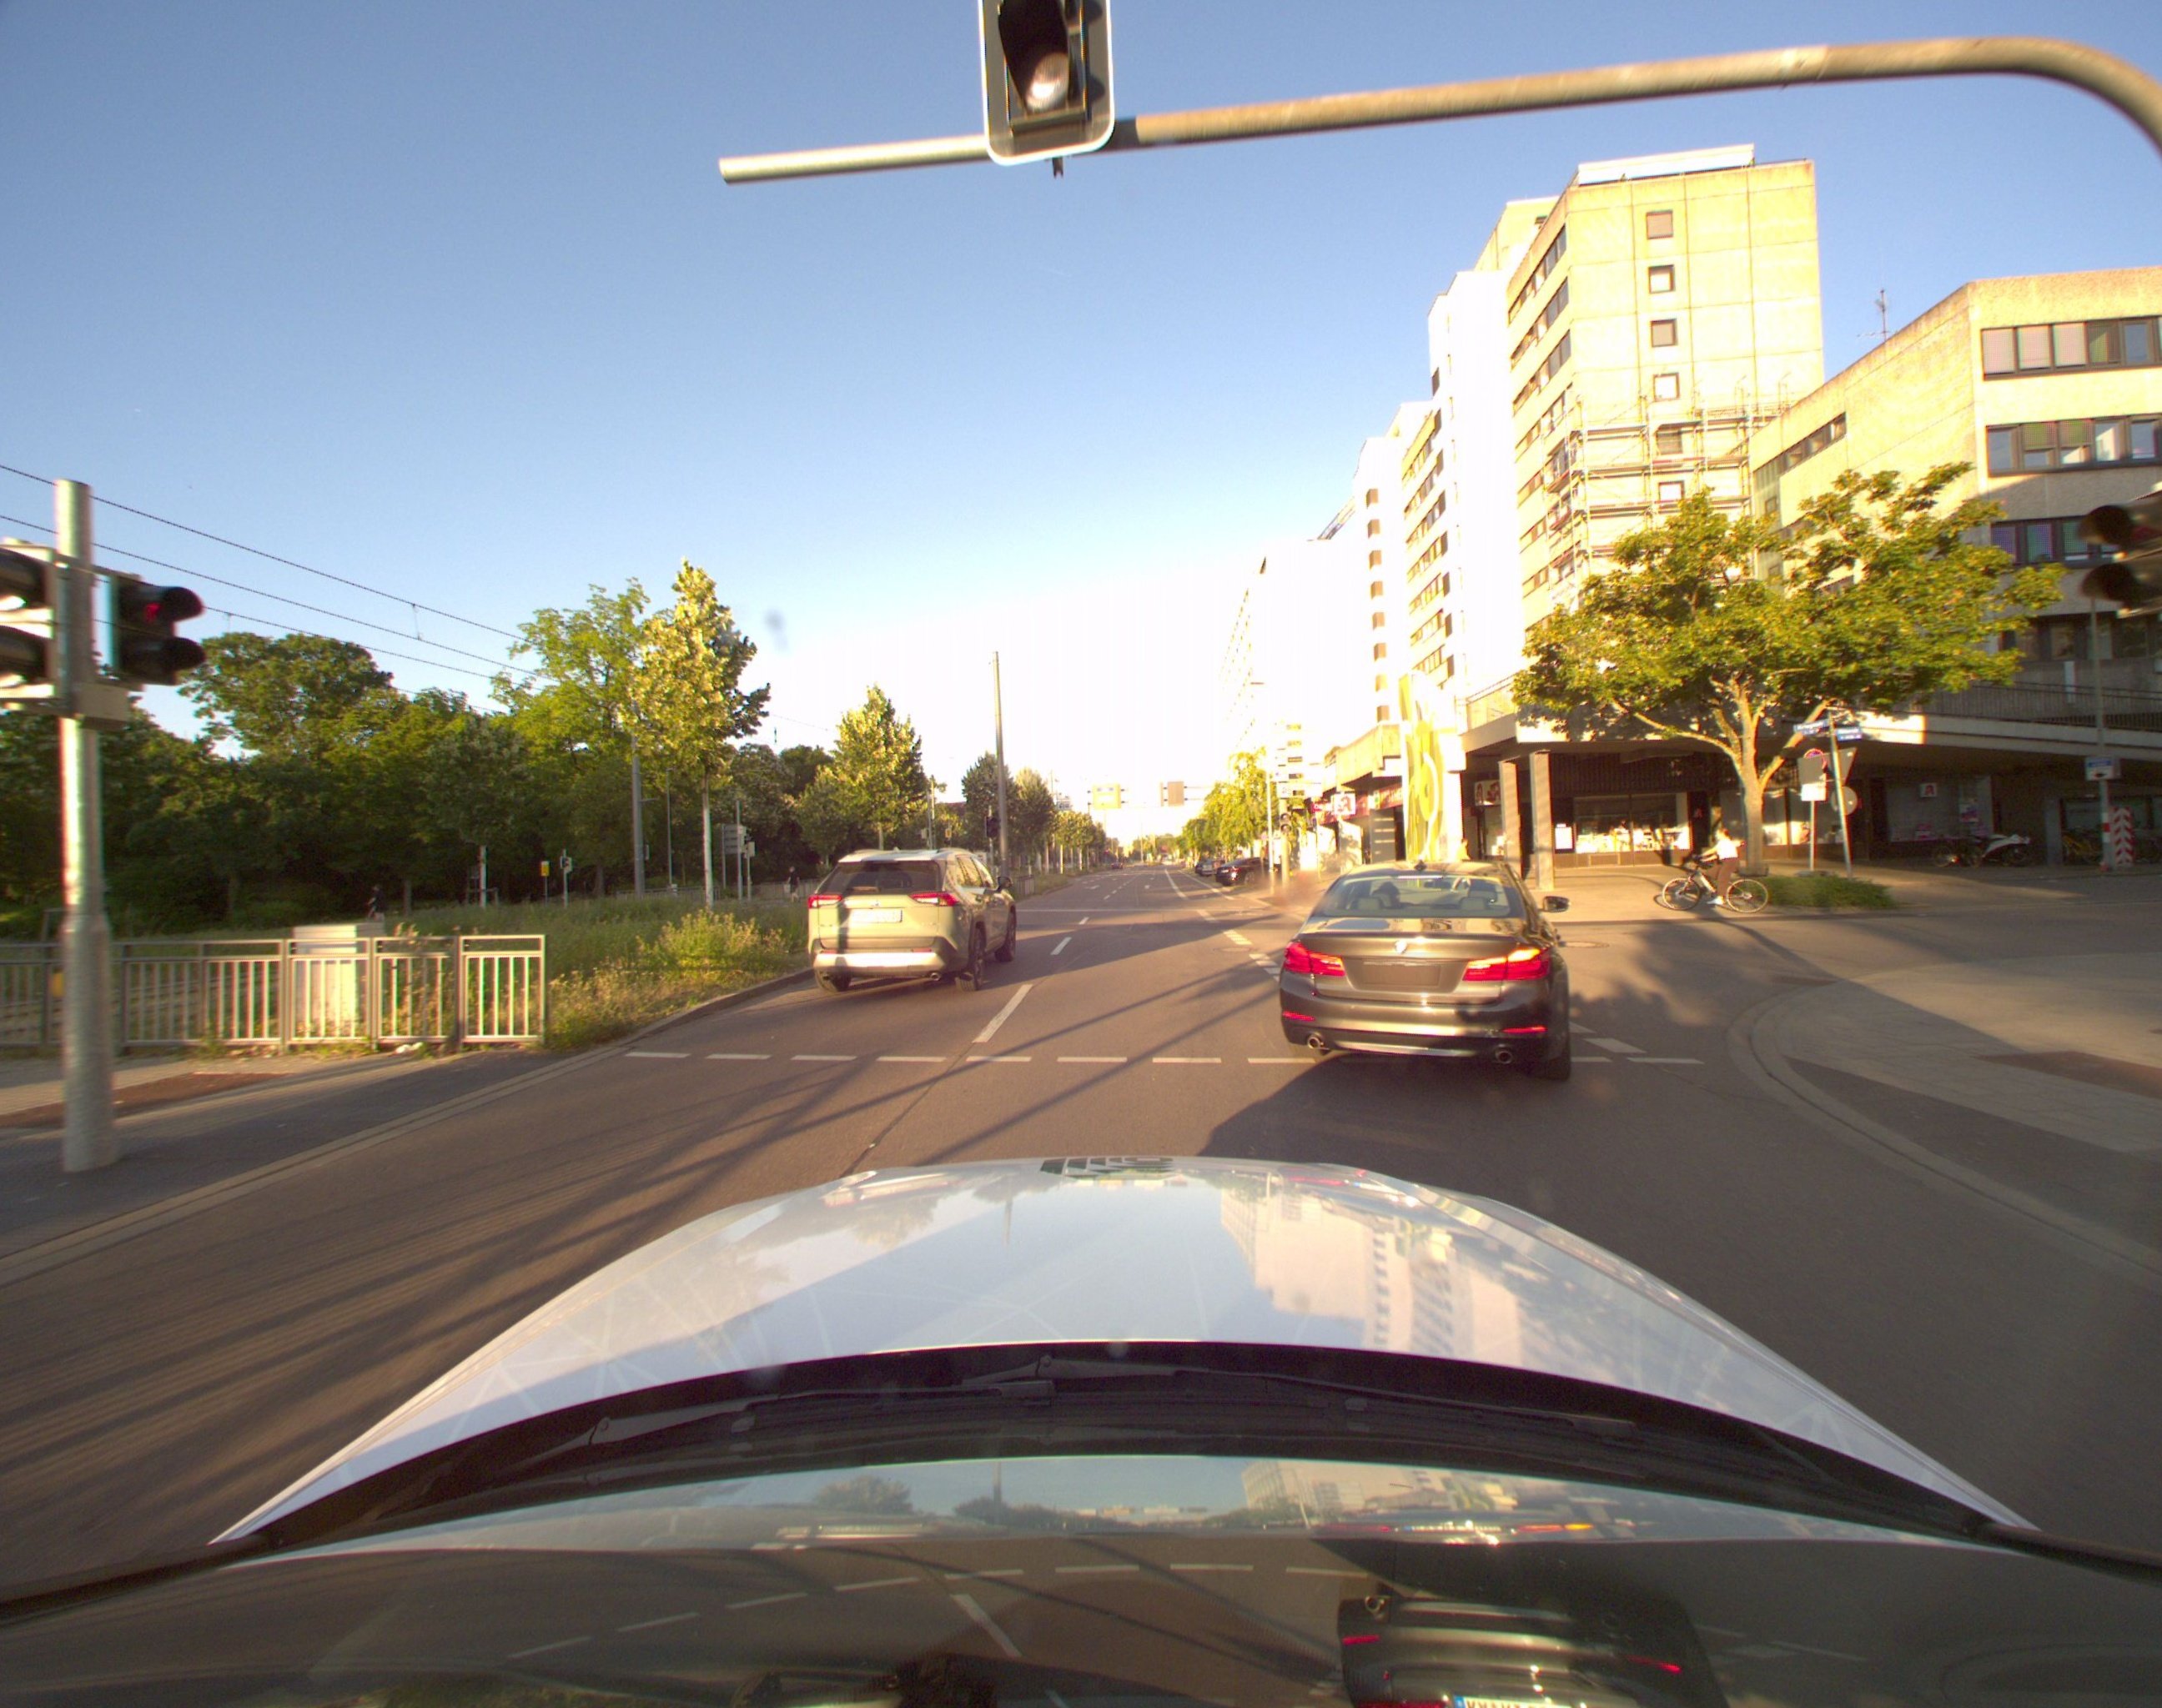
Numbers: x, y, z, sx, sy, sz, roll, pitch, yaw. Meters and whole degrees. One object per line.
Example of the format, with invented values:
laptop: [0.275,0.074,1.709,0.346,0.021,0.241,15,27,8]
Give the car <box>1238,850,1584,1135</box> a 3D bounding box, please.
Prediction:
car: [2.954,0.755,6.881,1.914,1.481,4.550,-1,1,28]

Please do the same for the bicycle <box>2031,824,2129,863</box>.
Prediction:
bicycle: [29.102,-0.277,23.770,0.578,1.075,1.980,1,-1,6]

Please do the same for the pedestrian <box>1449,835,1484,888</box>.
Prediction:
pedestrian: [12.907,0.242,27.272,0.830,1.712,0.649,-2,-1,7]

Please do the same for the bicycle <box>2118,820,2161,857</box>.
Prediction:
bicycle: [32.379,-0.479,24.117,0.583,1.075,1.964,1,-1,-20]

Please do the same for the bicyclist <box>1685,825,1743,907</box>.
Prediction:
bicyclist: [13.363,0.250,17.203,0.657,1.681,0.810,-2,-1,-44]

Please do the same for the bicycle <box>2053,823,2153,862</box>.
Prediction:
bicycle: [29.821,-0.313,23.819,0.578,1.075,1.980,1,-1,6]

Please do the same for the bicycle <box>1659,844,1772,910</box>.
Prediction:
bicycle: [13.371,0.489,17.192,0.657,1.310,1.765,-2,-1,-44]

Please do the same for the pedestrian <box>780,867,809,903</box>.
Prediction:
pedestrian: [-12.851,1.390,36.535,0.828,1.586,0.816,-3,-1,19]

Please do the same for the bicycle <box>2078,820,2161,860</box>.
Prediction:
bicycle: [30.364,-0.388,23.638,0.578,1.075,1.980,1,-1,6]

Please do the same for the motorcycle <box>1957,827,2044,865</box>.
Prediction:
motorcycle: [27.725,-0.233,24.601,0.642,1.075,1.880,1,-1,6]

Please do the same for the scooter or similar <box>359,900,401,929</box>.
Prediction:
scooter or similar: [-31.026,2.661,36.073,0.507,1.153,1.341,-3,-1,44]

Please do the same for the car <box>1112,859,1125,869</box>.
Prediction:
car: [6.200,1.591,134.377,1.970,1.433,4.847,-1,1,3]

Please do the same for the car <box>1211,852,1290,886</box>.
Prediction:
car: [9.122,0.784,43.748,4.290,1.658,1.839,-2,1,-39]

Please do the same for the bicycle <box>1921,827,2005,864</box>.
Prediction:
bicycle: [27.079,-0.233,25.053,0.578,1.075,1.980,1,-1,6]

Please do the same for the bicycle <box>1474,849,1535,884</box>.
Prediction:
bicycle: [14.643,0.436,28.222,0.689,1.149,2.012,1,-1,-15]

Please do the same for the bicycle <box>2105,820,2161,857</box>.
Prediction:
bicycle: [31.900,-0.465,24.069,0.582,1.075,1.966,1,-1,-16]

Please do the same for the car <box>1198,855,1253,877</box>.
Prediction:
car: [11.694,0.926,65.874,4.284,1.658,1.842,-1,1,-32]

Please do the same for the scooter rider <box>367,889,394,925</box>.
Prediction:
scooter rider: [-31.041,2.348,36.108,0.644,1.514,0.828,-3,-1,44]

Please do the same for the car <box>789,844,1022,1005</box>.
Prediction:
car: [-1.993,0.718,10.641,1.846,1.658,4.273,-1,1,3]

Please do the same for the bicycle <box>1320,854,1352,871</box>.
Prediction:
bicycle: [17.470,0.575,55.772,2.004,1.149,0.692,1,-1,9]

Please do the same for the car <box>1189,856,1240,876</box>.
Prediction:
car: [11.883,1.037,72.256,4.283,1.658,1.842,-1,1,-32]

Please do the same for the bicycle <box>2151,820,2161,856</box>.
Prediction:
bicycle: [32.972,-0.494,23.888,0.579,1.075,1.977,1,-1,0]
